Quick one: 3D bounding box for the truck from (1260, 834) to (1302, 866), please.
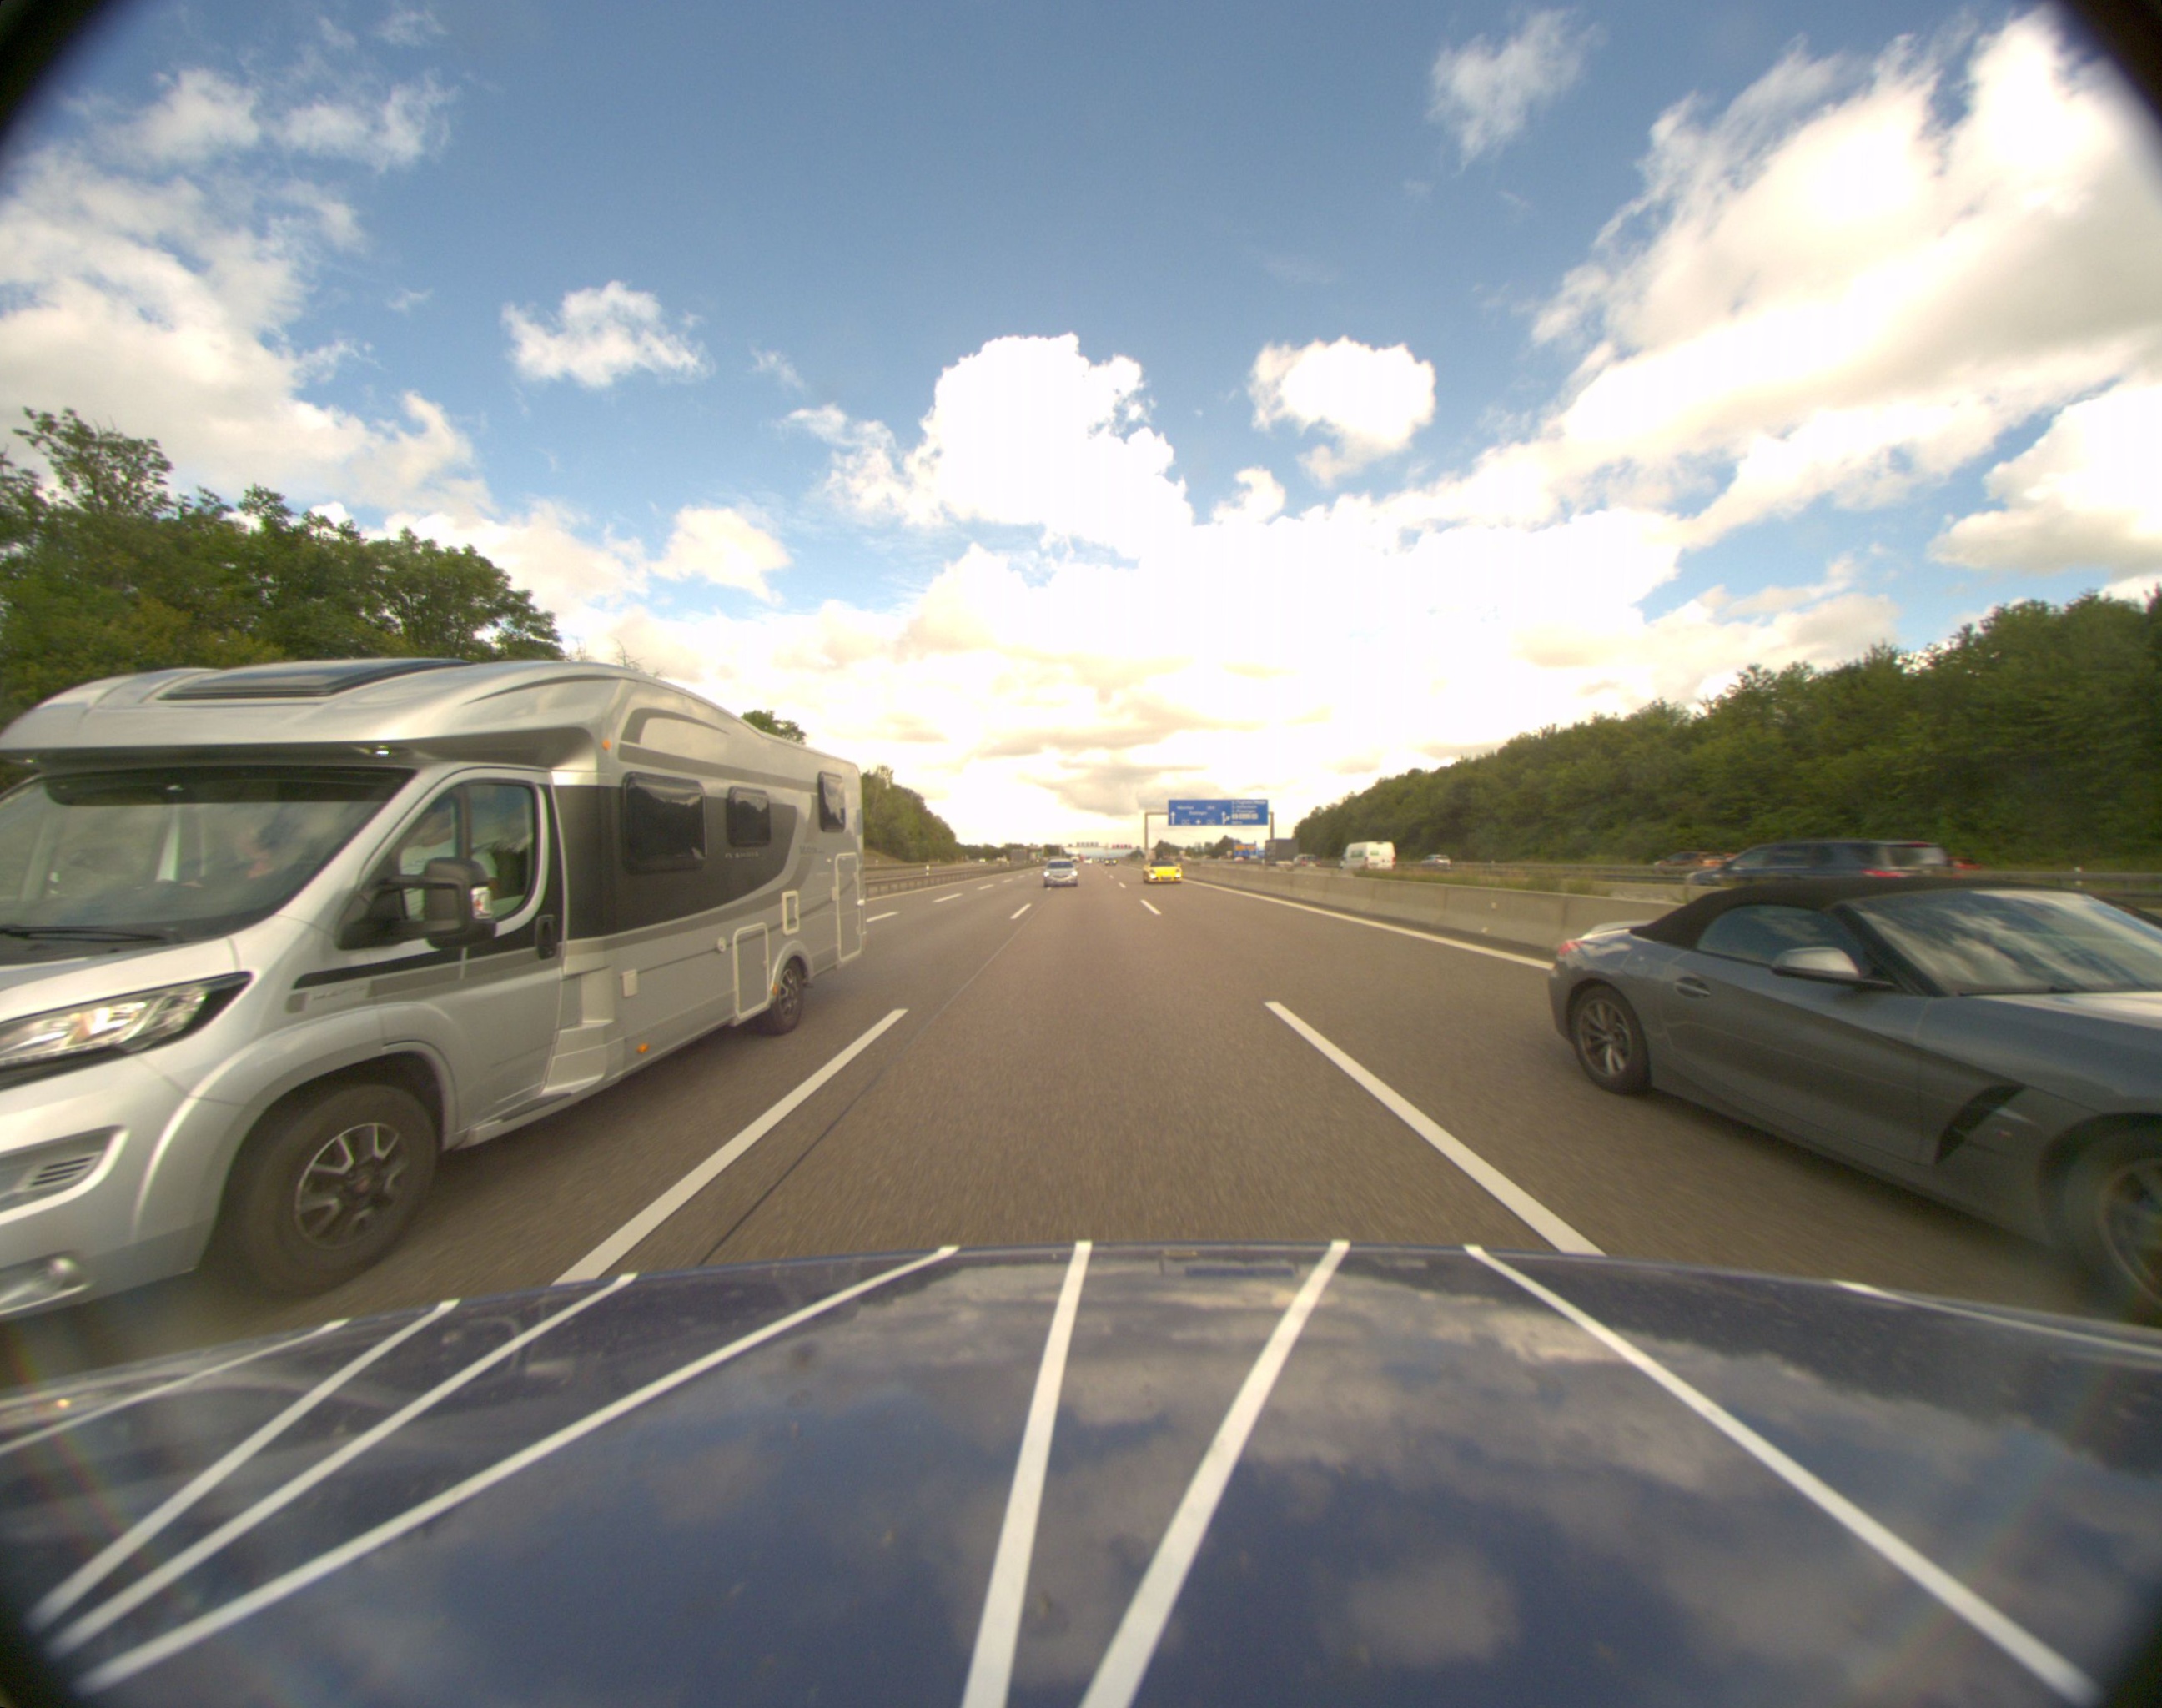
[{"bbox_3d":[21.430,-0.424,81.812,2.359,3.244,7.825,-1,0,0],"label":"truck"}]

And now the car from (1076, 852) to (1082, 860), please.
[{"bbox_3d":[-0.721,0.749,251.325,1.854,2.565,5.412,0,0,0],"label":"car"}]

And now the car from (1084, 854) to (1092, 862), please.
[{"bbox_3d":[1.533,0.834,164.902,1.737,1.608,4.000,-1,0,1],"label":"car"}]

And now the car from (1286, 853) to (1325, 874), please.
[{"bbox_3d":[17.064,0.693,57.903,1.741,1.502,4.051,-1,0,0],"label":"car"}]

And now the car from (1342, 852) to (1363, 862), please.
[{"bbox_3d":[42.076,0.432,117.650,1.596,1.486,4.509,-1,0,0],"label":"car"}]

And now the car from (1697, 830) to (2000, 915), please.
[{"bbox_3d":[16.257,0.334,16.564,1.778,1.552,4.781,-1,0,0],"label":"car"}]

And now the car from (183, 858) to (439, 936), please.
[{"bbox_3d":[-20.014,1.016,20.153,1.848,1.741,4.764,-2,0,1],"label":"car"}]

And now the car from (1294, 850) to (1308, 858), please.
[{"bbox_3d":[44.485,-0.016,153.592,1.596,1.747,4.282,-1,0,0],"label":"car"}]

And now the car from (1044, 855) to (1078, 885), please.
[{"bbox_3d":[-1.022,0.842,41.448,1.687,1.476,4.615,-1,0,0],"label":"car"}]

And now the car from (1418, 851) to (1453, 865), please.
[{"bbox_3d":[34.943,0.402,75.041,1.567,1.357,4.051,-1,0,0],"label":"car"}]

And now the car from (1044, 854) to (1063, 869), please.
[{"bbox_3d":[-3.082,0.807,86.140,1.876,1.626,4.859,-1,0,1],"label":"car"}]

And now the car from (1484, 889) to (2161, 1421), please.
[{"bbox_3d":[4.003,0.938,3.311,1.878,1.295,4.942,-1,0,0],"label":"car"}]

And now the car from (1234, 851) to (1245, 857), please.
[{"bbox_3d":[39.408,0.016,189.171,1.662,1.435,4.323,0,0,0],"label":"car"}]

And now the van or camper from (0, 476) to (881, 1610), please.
[{"bbox_3d":[-3.805,0.468,5.603,2.475,2.706,7.661,-2,0,0],"label":"van or camper"}]

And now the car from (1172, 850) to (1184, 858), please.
[{"bbox_3d":[21.898,0.059,171.578,1.839,1.775,5.503,-1,0,0],"label":"car"}]

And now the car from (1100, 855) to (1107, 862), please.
[{"bbox_3d":[6.785,1.394,232.189,1.998,2.002,4.589,-1,0,1],"label":"car"}]

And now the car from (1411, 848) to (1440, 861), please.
[{"bbox_3d":[41.904,0.088,92.553,1.596,1.486,4.180,-1,0,0],"label":"car"}]

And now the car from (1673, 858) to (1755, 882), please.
[{"bbox_3d":[38.085,0.931,45.840,1.567,1.357,4.051,-1,0,0],"label":"car"}]

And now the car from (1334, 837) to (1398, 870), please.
[{"bbox_3d":[20.587,-0.026,55.248,2.170,2.258,6.460,-1,0,0],"label":"car"}]

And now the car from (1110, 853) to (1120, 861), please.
[{"bbox_3d":[5.933,0.469,133.807,1.593,1.307,3.978,1,0,0],"label":"car"}]

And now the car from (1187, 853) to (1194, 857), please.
[{"bbox_3d":[37.669,0.297,261.560,1.680,1.508,4.369,-1,0,2],"label":"car"}]

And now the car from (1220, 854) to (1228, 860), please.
[{"bbox_3d":[39.437,0.707,209.704,1.662,1.637,4.000,0,0,0],"label":"car"}]

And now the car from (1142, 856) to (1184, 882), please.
[{"bbox_3d":[4.385,0.789,41.053,1.811,1.307,4.247,1,0,0],"label":"car"}]

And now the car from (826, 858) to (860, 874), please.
[{"bbox_3d":[-21.703,1.088,69.482,1.716,1.407,4.169,-1,0,1],"label":"car"}]

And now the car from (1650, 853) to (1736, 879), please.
[{"bbox_3d":[34.281,0.628,42.678,1.567,1.357,4.051,-1,0,0],"label":"car"}]
